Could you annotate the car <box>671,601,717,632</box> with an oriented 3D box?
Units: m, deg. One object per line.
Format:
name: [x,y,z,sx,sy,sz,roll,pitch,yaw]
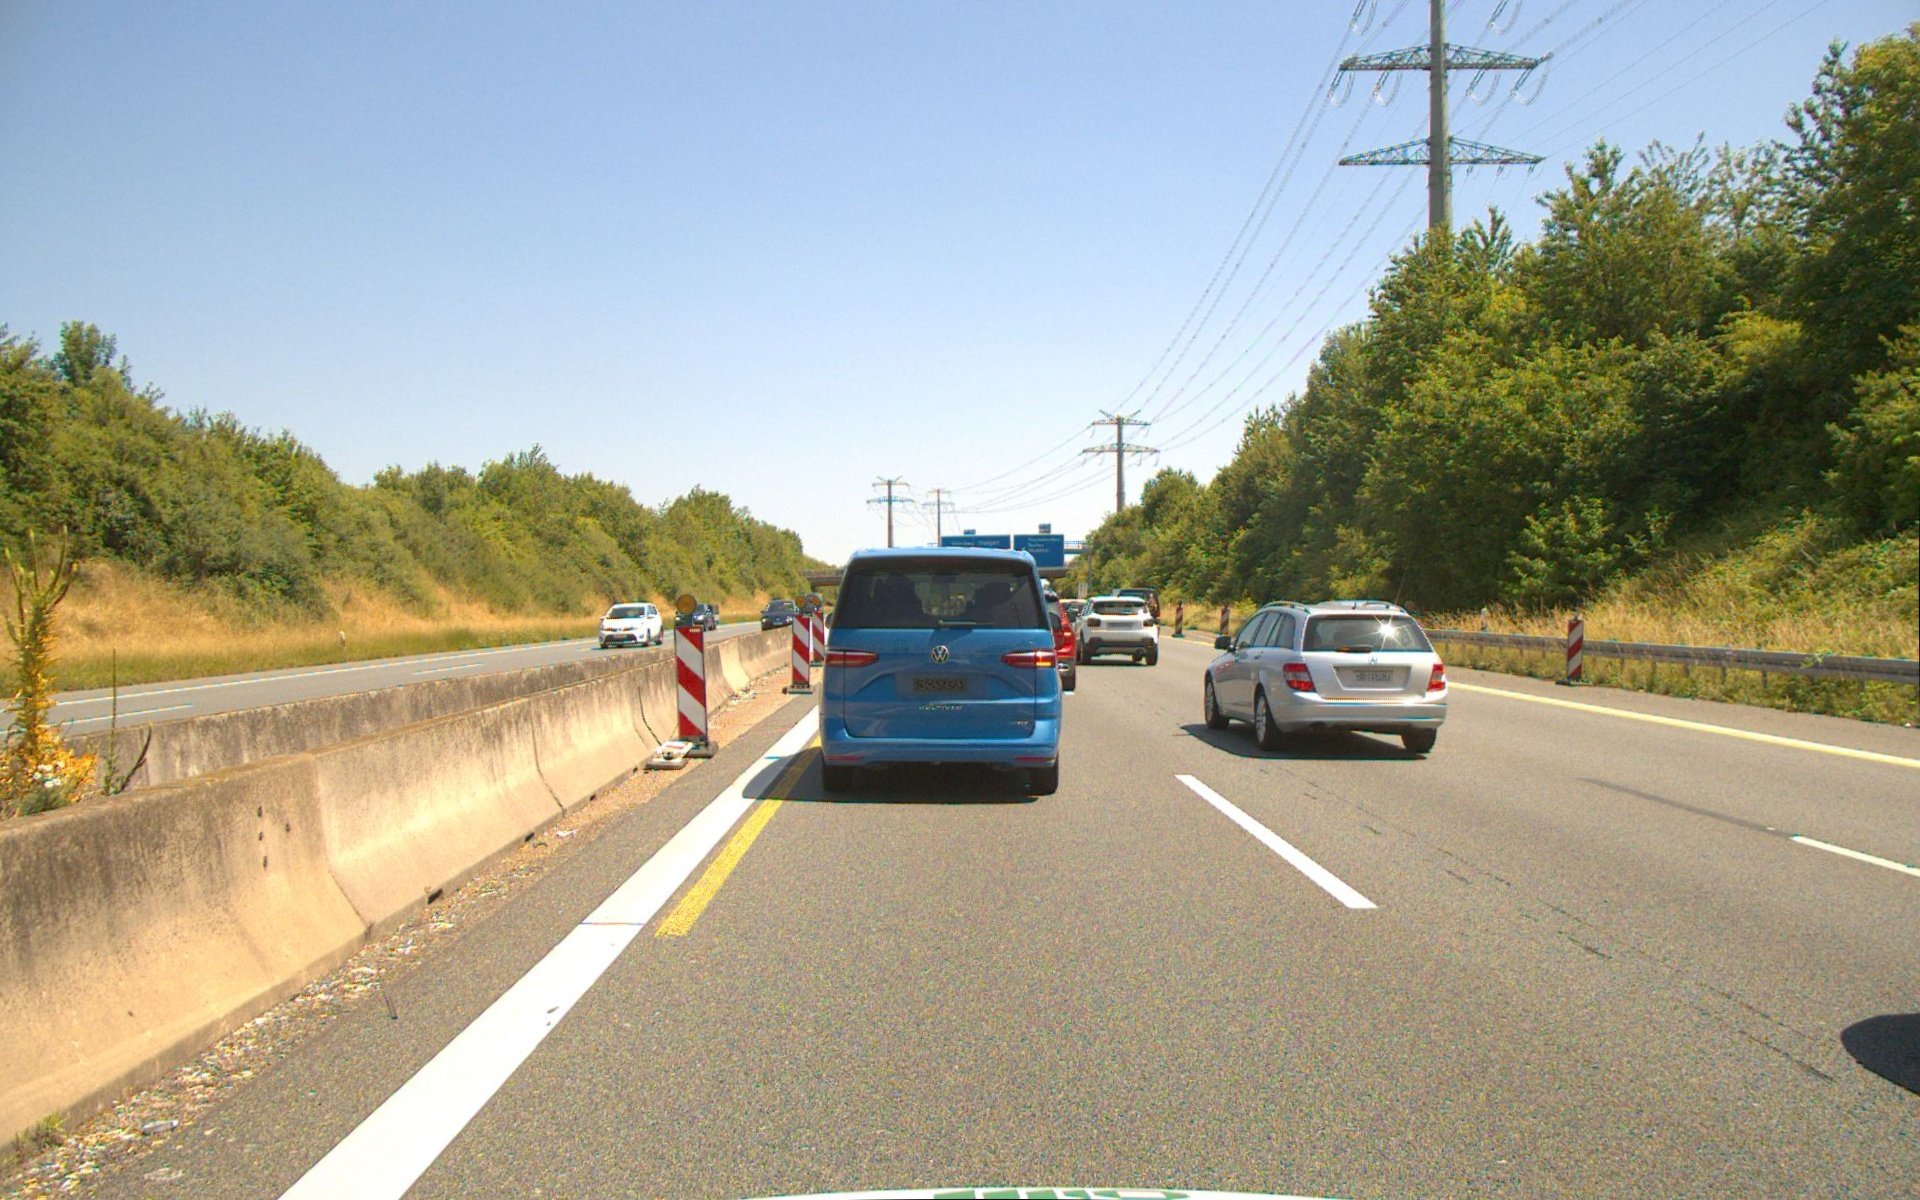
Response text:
car: [-15.942,0.953,99.297,1.953,1.678,4.629,-3,0,-1]

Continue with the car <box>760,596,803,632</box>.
car: [-8.868,0.701,82.367,1.737,1.729,4.169,1,0,-2]

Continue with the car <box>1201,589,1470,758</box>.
car: [3.820,0.689,17.588,1.735,1.544,4.358,1,0,-2]

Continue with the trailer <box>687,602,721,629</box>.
trailer: [-15.984,0.959,103.510,1.537,1.579,3.778,-2,0,-1]

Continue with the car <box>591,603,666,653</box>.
car: [-12.180,1.000,61.071,1.953,1.691,4.228,-1,0,-1]

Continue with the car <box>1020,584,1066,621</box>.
car: [3.712,0.114,74.260,1.761,1.622,4.226,1,0,-1]

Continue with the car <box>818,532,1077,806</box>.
car: [-0.149,0.505,14.114,1.837,1.945,4.358,1,0,-2]

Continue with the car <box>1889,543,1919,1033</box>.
car: [4.203,0.656,3.685,1.666,1.684,4.428,1,0,-2]

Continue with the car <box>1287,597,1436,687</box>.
car: [7.072,0.711,29.473,1.666,1.473,3.787,1,0,-1]

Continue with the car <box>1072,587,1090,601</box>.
car: [15.036,-0.788,205.874,1.837,1.700,4.358,1,0,-2]

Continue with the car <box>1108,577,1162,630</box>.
car: [7.058,0.146,66.918,1.761,2.049,4.227,1,0,1]

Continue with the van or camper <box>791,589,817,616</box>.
van or camper: [-16.907,0.300,179.402,2.178,2.758,7.078,-3,0,-2]

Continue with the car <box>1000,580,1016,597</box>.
car: [7.287,-1.675,250.948,2.329,2.470,4.226,1,0,-1]

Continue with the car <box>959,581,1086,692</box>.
car: [0.975,0.571,27.971,1.837,1.700,4.358,1,0,-2]

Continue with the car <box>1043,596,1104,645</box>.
car: [3.919,0.707,57.865,1.761,1.622,4.226,1,0,-1]

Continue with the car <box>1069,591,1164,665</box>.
car: [3.621,0.623,38.905,1.761,1.622,4.226,1,0,-1]
